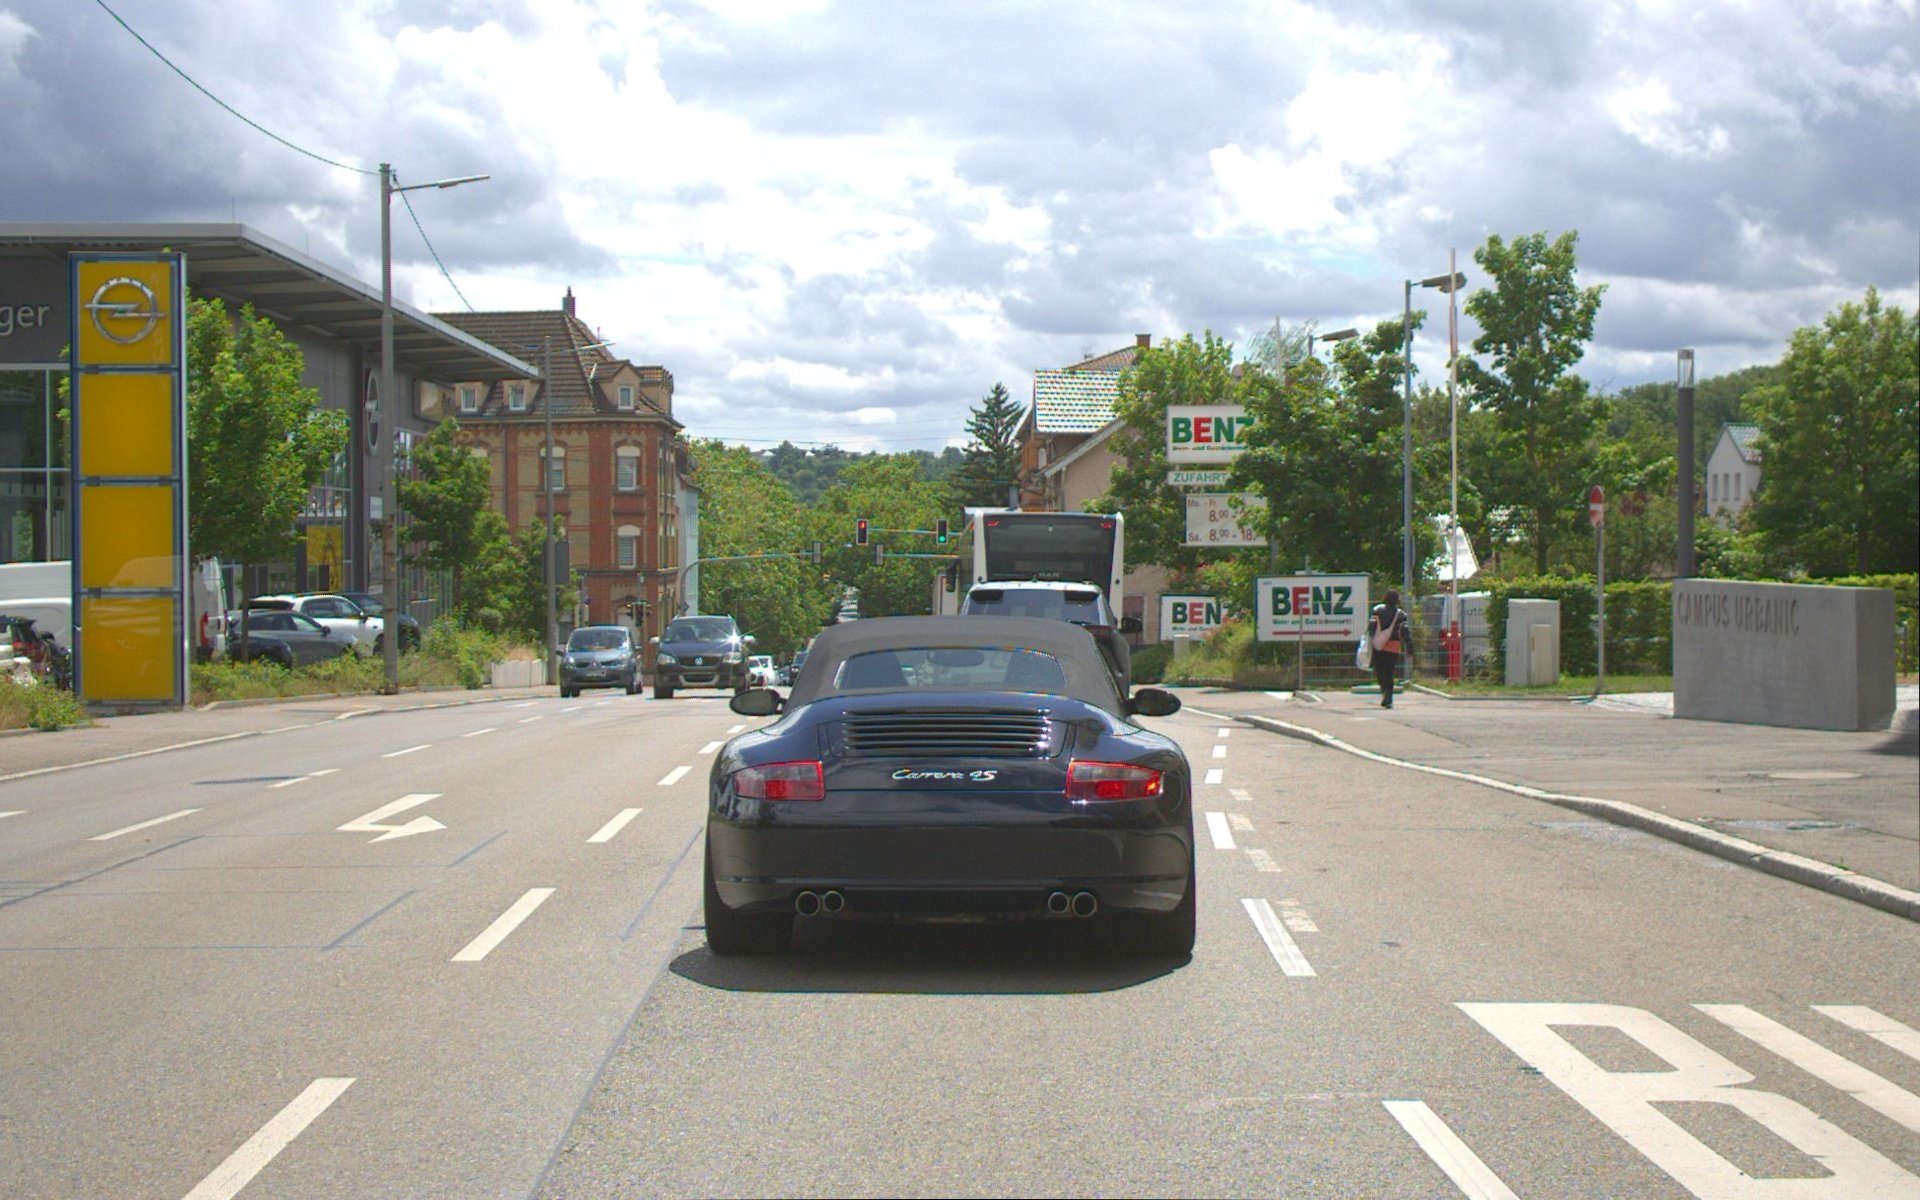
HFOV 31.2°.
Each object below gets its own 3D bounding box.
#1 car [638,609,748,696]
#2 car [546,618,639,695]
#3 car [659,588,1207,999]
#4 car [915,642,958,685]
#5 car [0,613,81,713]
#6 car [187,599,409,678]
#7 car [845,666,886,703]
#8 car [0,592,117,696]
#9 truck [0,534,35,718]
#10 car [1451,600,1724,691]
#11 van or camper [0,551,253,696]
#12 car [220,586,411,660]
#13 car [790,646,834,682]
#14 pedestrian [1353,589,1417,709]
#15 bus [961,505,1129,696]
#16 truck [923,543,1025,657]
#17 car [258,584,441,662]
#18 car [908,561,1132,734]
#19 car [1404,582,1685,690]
[{"bbox_3d":[-4.806,0.943,62.393,1.829,1.504,4.277,-1,-1,-3],"label":"car"},{"bbox_3d":[-8.290,1.250,77.705,1.743,1.590,4.042,-3,0,-2],"label":"car"},{"bbox_3d":[-0.089,0.675,14.222,1.930,1.372,4.208,0,1,0],"label":"car"},{"bbox_3d":[-1.103,2.921,158.884,1.832,1.875,4.000,-1,0,-2],"label":"car"},{"bbox_3d":[-16.059,0.972,53.943,3.987,1.486,2.000,0,1,2],"label":"car"},{"bbox_3d":[-13.512,0.767,70.479,1.897,1.445,4.825,1,1,27],"label":"car"},{"bbox_3d":[-4.316,3.846,156.790,1.864,1.660,4.259,0,-1,-2],"label":"car"},{"bbox_3d":[-16.672,0.733,58.695,3.987,1.700,2.000,0,1,5],"label":"car"},{"bbox_3d":[-14.064,0.362,40.209,5.860,2.140,2.477,-1,-1,-4],"label":"truck"},{"bbox_3d":[11.151,0.811,61.335,4.432,1.477,2.000,-2,-1,-1],"label":"car"},{"bbox_3d":[-15.346,0.390,61.300,5.026,2.522,2.318,0,1,-1],"label":"van or camper"},{"bbox_3d":[-14.046,0.523,75.149,1.933,1.567,4.548,-1,-1,23],"label":"car"},{"bbox_3d":[-6.410,2.773,149.575,1.864,1.535,4.107,0,-1,-2],"label":"car"},{"bbox_3d":[5.490,0.631,44.476,0.687,1.531,0.856,-1,0,-1],"label":"pedestrian"},{"bbox_3d":[1.483,-0.126,63.391,2.802,3.187,12.196,0,1,1],"label":"bus"},{"bbox_3d":[0.337,0.066,100.452,2.666,3.097,9.035,-1,-1,-1],"label":"truck"},{"bbox_3d":[-14.189,0.503,80.144,1.996,1.693,4.479,0,1,25],"label":"car"},{"bbox_3d":[0.524,0.419,33.930,1.930,1.577,4.208,0,1,-3],"label":"car"},{"bbox_3d":[10.879,0.682,64.162,4.706,1.842,2.089,-2,-1,-8],"label":"car"}]
